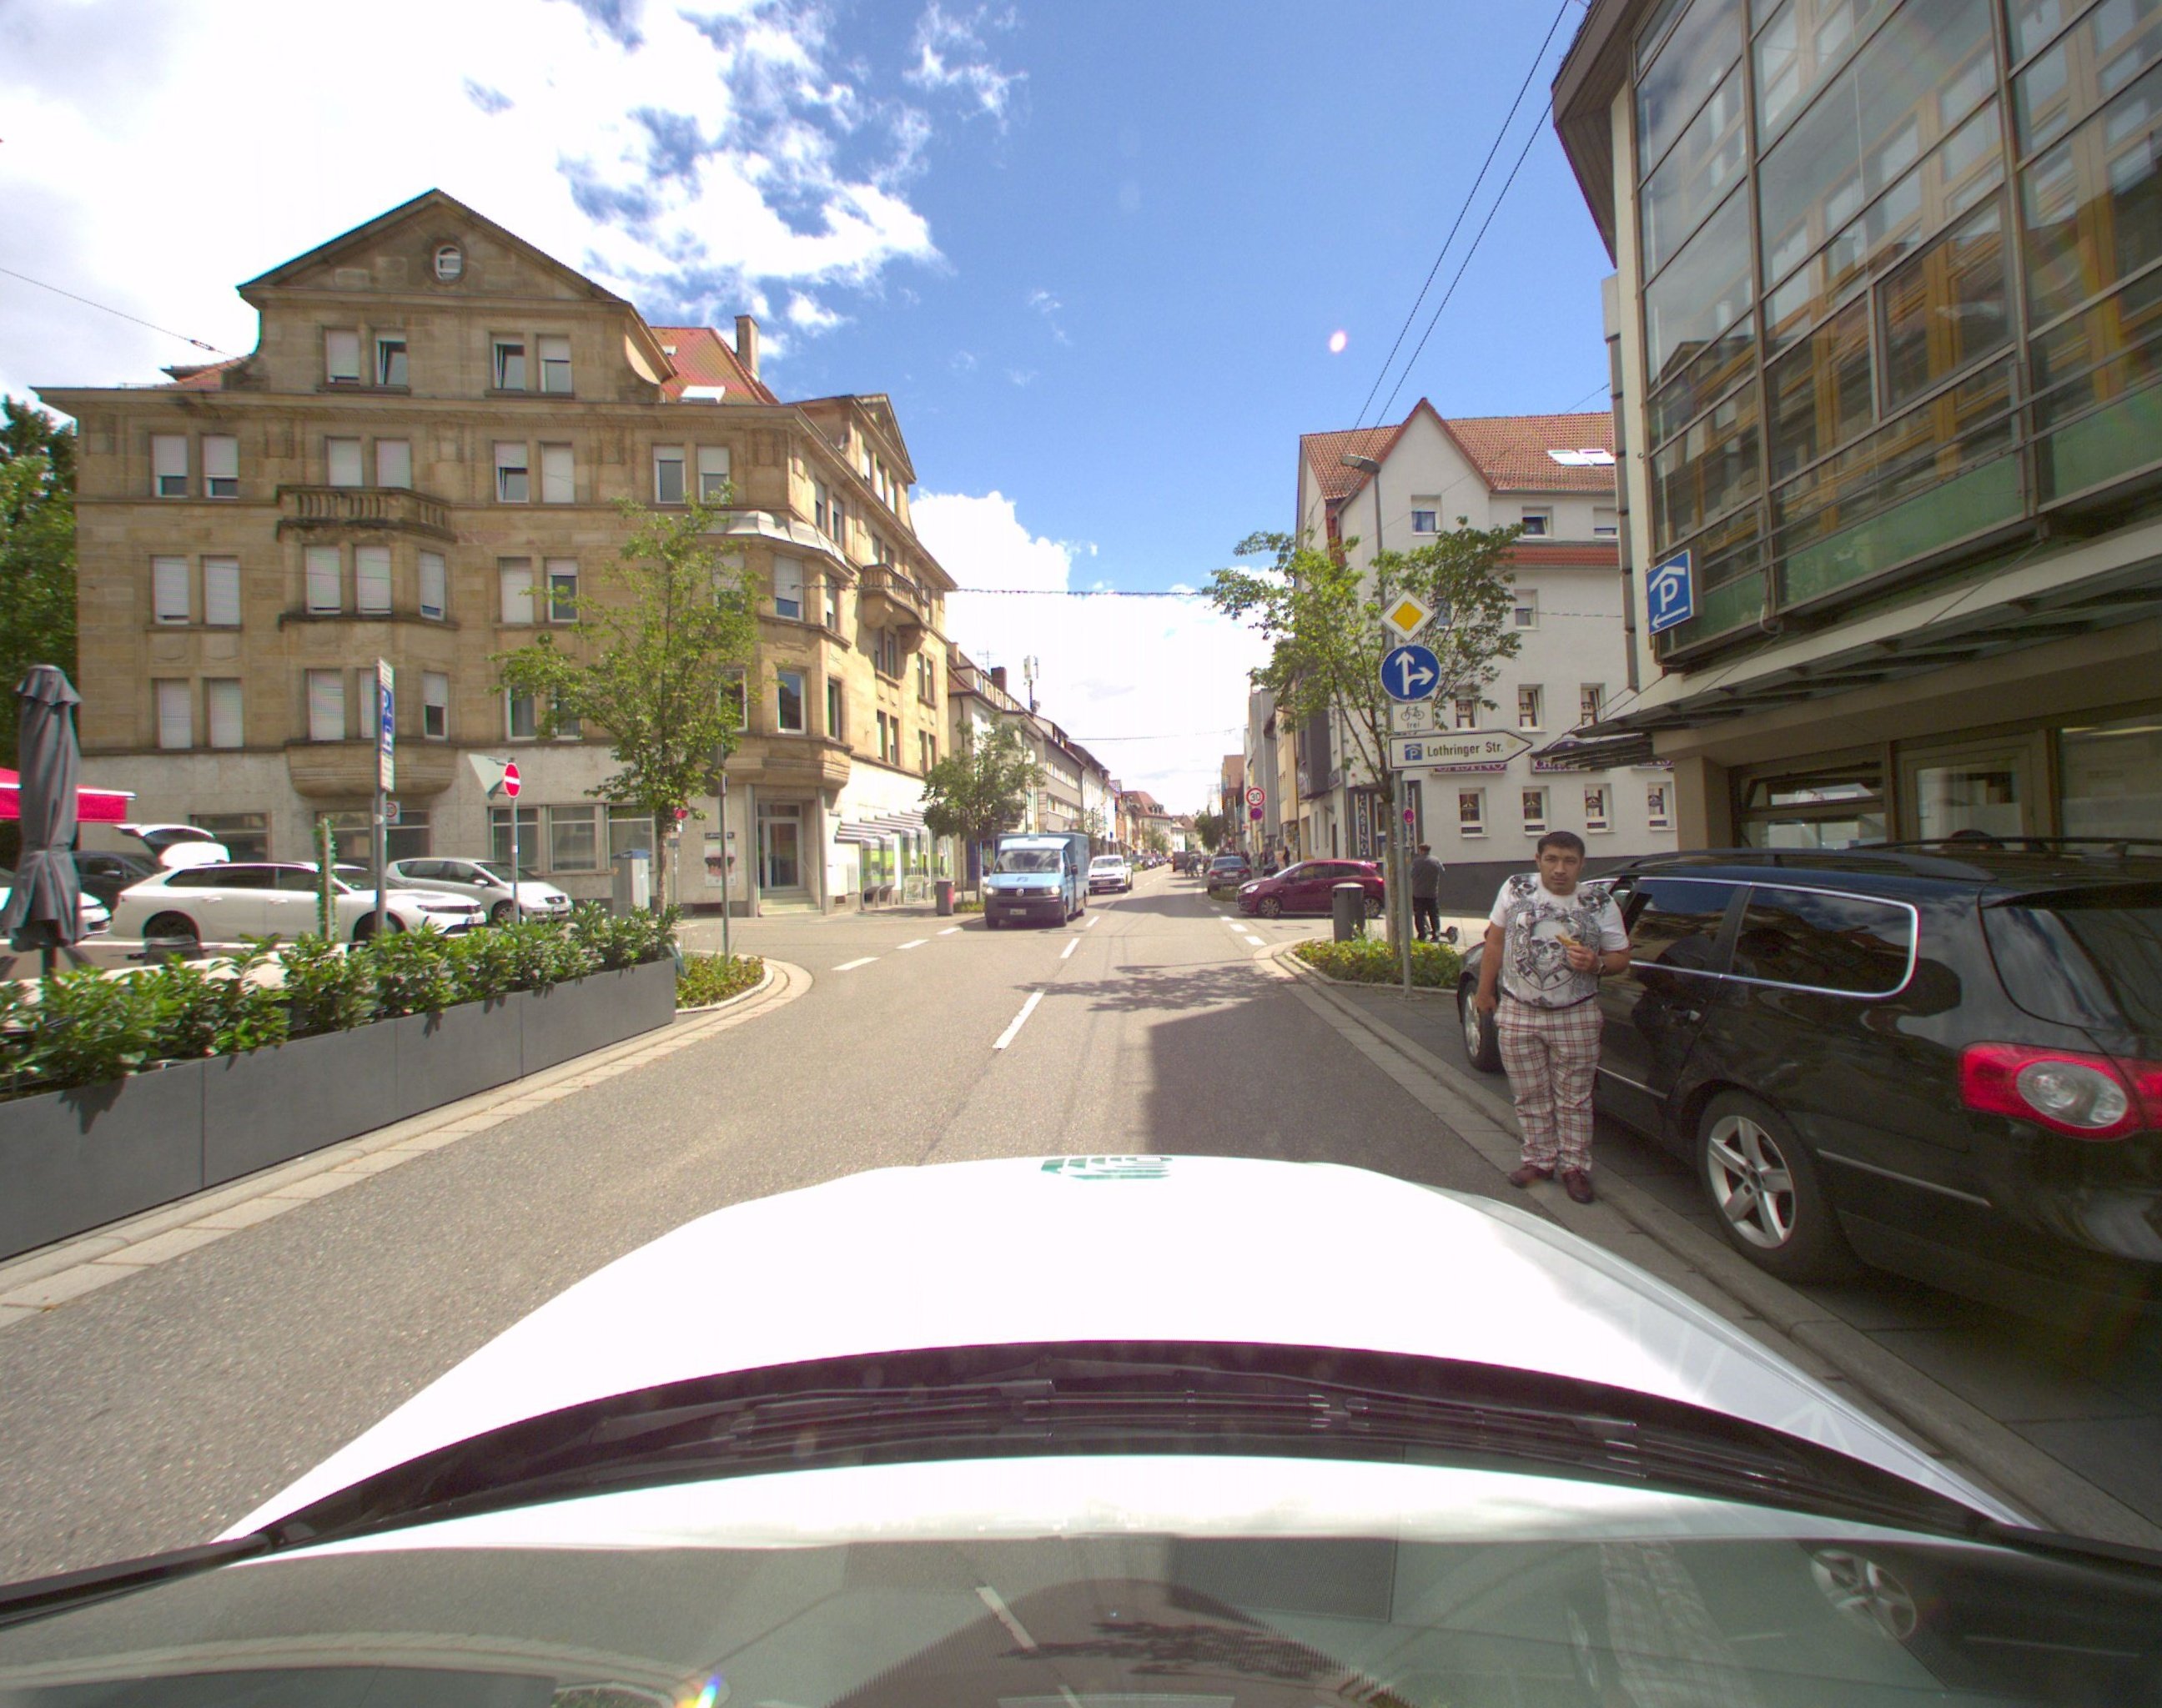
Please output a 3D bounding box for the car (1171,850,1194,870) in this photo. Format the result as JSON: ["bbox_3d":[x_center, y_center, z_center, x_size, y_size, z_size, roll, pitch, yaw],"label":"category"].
[{"bbox_3d":[9.367,0.588,75.632,2.030,1.848,5.008,-1,-1,7],"label":"car"}]

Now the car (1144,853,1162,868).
[{"bbox_3d":[9.026,0.851,102.009,1.805,1.755,4.476,-1,-1,10],"label":"car"}]

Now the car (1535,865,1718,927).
[{"bbox_3d":[14.946,1.135,22.441,3.870,1.399,1.847,4,-1,-4],"label":"car"}]

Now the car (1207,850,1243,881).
[{"bbox_3d":[8.431,0.645,48.015,1.789,1.603,4.212,-4,-1,7],"label":"car"}]

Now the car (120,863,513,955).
[{"bbox_3d":[-12.488,0.862,13.649,4.372,1.381,1.994,0,-1,-9],"label":"car"}]

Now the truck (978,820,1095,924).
[{"bbox_3d":[-0.944,0.461,21.420,2.096,2.305,6.485,-1,-1,6],"label":"truck"}]

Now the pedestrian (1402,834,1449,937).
[{"bbox_3d":[5.795,0.523,13.718,0.569,1.703,0.482,0,-1,1],"label":"pedestrian"}]

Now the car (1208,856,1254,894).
[{"bbox_3d":[6.012,0.808,32.551,1.696,1.420,4.331,-1,-1,11],"label":"car"}]

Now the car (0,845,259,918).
[{"bbox_3d":[-21.843,0.603,18.495,4.193,1.561,1.999,0,-1,-1],"label":"car"}]

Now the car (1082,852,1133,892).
[{"bbox_3d":[1.242,0.784,35.950,1.777,1.640,4.125,-1,-1,8],"label":"car"}]

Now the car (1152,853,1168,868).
[{"bbox_3d":[10.721,0.901,109.810,1.805,1.889,4.853,-1,-1,9],"label":"car"}]

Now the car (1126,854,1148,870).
[{"bbox_3d":[6.121,0.896,88.531,1.804,1.755,4.683,-1,-1,11],"label":"car"}]

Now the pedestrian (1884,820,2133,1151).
[{"bbox_3d":[4.650,0.625,4.120,0.656,1.562,0.478,-1,-1,5],"label":"pedestrian"}]

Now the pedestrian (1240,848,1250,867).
[{"bbox_3d":[14.148,0.304,70.140,0.745,1.553,0.727,-3,-2,8],"label":"pedestrian"}]

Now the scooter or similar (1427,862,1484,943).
[{"bbox_3d":[6.205,0.777,13.544,0.429,1.280,1.250,-1,-1,4],"label":"scooter or similar"}]

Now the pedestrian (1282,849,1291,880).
[{"bbox_3d":[11.424,0.596,45.256,0.433,1.718,0.538,-1,-1,6],"label":"pedestrian"}]

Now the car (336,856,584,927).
[{"bbox_3d":[-14.412,0.859,19.121,4.193,1.561,1.999,0,-1,-1],"label":"car"}]

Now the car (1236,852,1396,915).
[{"bbox_3d":[5.892,0.742,20.759,3.726,1.530,1.540,-1,-1,7],"label":"car"}]

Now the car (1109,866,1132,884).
[{"bbox_3d":[3.472,1.802,71.204,1.781,1.503,4.184,-1,0,5],"label":"car"}]

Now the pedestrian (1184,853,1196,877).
[{"bbox_3d":[7.362,0.754,55.022,0.728,1.618,0.652,-1,-1,4],"label":"pedestrian"}]

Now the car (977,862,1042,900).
[{"bbox_3d":[-2.765,1.046,32.245,1.836,1.398,4.043,-1,-1,6],"label":"car"}]

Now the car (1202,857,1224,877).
[{"bbox_3d":[10.991,1.076,67.812,1.680,1.472,4.534,-1,1,8],"label":"car"}]

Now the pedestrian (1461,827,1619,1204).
[{"bbox_3d":[2.128,0.690,3.841,0.578,1.600,0.551,-1,-1,25],"label":"pedestrian"}]

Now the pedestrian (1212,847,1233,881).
[{"bbox_3d":[7.901,0.555,45.462,0.970,1.864,0.866,-4,-2,7],"label":"pedestrian"}]

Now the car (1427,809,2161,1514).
[{"bbox_3d":[3.280,0.619,3.847,1.706,1.454,4.559,-2,0,6],"label":"car"}]

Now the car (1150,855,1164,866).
[{"bbox_3d":[11.401,0.990,122.102,1.789,1.598,4.400,-2,0,9],"label":"car"}]

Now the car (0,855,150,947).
[{"bbox_3d":[-18.100,0.706,12.859,4.218,1.381,1.826,0,-1,-9],"label":"car"}]

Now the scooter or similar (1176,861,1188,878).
[{"bbox_3d":[6.847,1.021,55.058,0.778,1.126,0.631,-1,-1,4],"label":"scooter or similar"}]

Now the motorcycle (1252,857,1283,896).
[{"bbox_3d":[6.244,0.743,27.331,0.656,1.259,2.379,-1,-1,5],"label":"motorcycle"}]

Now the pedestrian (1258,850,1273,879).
[{"bbox_3d":[10.986,0.636,48.476,0.739,1.718,0.657,-2,-1,7],"label":"pedestrian"}]
